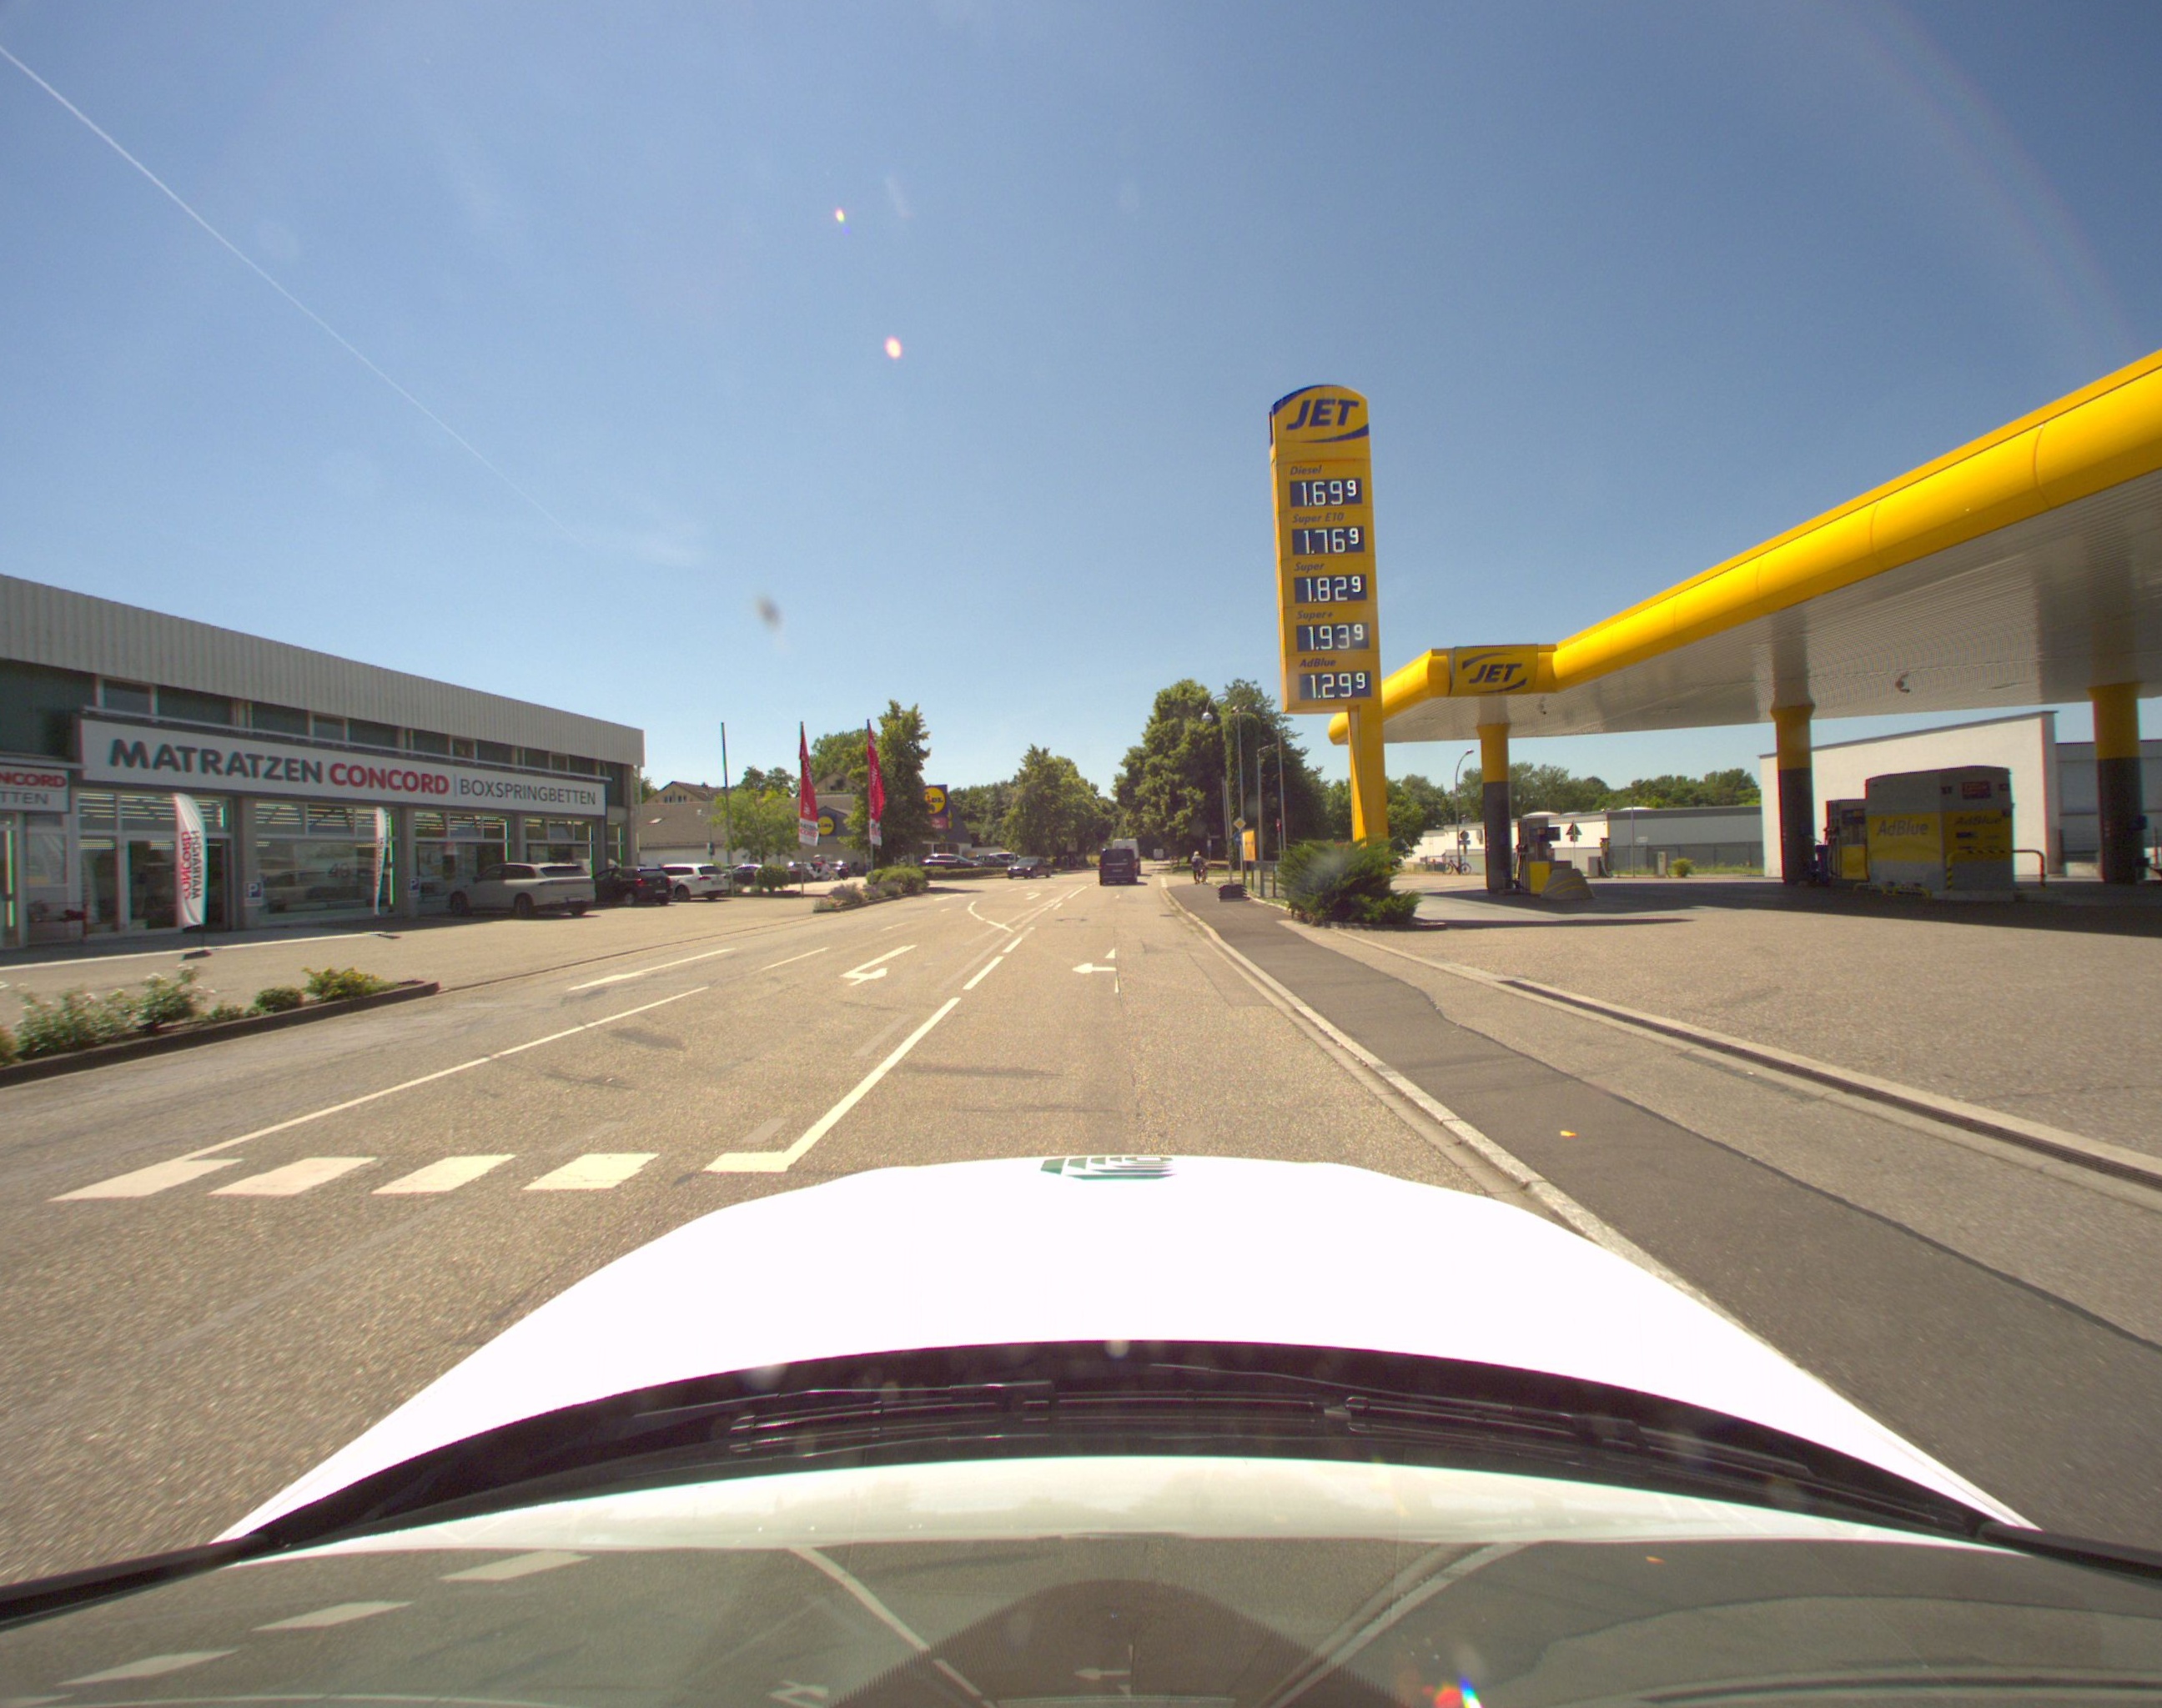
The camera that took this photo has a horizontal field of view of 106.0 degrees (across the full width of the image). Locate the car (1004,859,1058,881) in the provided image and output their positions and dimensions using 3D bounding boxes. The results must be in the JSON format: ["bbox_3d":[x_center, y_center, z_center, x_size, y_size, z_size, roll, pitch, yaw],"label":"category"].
[{"bbox_3d":[-3.291,1.084,55.023,1.916,1.400,4.712,-1,-1,20],"label":"car"}]

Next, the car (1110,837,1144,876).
[{"bbox_3d":[3.367,0.176,58.465,2.067,2.702,4.675,0,-1,7],"label":"car"}]

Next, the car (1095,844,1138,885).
[{"bbox_3d":[1.904,0.541,42.031,1.984,1.952,5.011,0,-1,5],"label":"car"}]

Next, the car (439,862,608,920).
[{"bbox_3d":[-17.201,1.120,25.150,4.492,1.664,2.010,-1,0,20],"label":"car"}]

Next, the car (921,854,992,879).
[{"bbox_3d":[-8.986,0.919,58.974,4.679,1.762,2.104,-1,-1,9],"label":"car"}]

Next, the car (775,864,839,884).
[{"bbox_3d":[-21.288,1.538,63.398,4.296,1.530,1.828,-1,-1,1],"label":"car"}]

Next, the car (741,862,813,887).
[{"bbox_3d":[-20.755,1.387,55.711,4.226,1.589,1.767,-1,-1,-4],"label":"car"}]

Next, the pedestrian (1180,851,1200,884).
[{"bbox_3d":[4.836,0.599,35.986,0.763,1.421,0.871,-1,-1,14],"label":"pedestrian"}]

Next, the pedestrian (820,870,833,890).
[{"bbox_3d":[-19.055,1.960,61.042,0.891,1.483,0.803,0,-1,-19],"label":"pedestrian"}]

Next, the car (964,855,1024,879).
[{"bbox_3d":[-7.075,1.085,66.387,4.357,1.845,2.110,-1,-1,11],"label":"car"}]

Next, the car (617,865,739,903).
[{"bbox_3d":[-16.247,1.208,32.906,4.151,1.446,1.989,-1,0,17],"label":"car"}]

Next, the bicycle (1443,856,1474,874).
[{"bbox_3d":[23.969,0.693,51.735,1.684,1.098,0.469,-1,-1,7],"label":"bicycle"}]

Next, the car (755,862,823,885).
[{"bbox_3d":[-21.837,1.481,61.053,4.296,1.655,2.115,-1,-1,1],"label":"car"}]

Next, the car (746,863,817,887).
[{"bbox_3d":[-21.378,1.500,58.243,4.302,1.606,1.910,-1,-1,-4],"label":"car"}]

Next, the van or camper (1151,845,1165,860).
[{"bbox_3d":[16.434,-0.274,173.013,2.622,2.929,5.208,0,-1,2],"label":"van or camper"}]

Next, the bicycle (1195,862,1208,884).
[{"bbox_3d":[5.279,0.826,35.596,0.375,0.912,1.604,-1,0,14],"label":"bicycle"}]

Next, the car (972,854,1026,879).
[{"bbox_3d":[-6.937,1.058,69.105,4.338,1.980,1.906,-1,-1,3],"label":"car"}]

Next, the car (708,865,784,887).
[{"bbox_3d":[-21.779,1.428,53.032,4.226,1.369,1.767,-1,-1,-4],"label":"car"}]

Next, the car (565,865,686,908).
[{"bbox_3d":[-16.858,1.193,30.209,3.595,1.475,2.010,-1,0,20],"label":"car"}]

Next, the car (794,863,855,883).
[{"bbox_3d":[-20.562,1.555,65.466,4.296,1.530,1.828,-1,-1,1],"label":"car"}]
